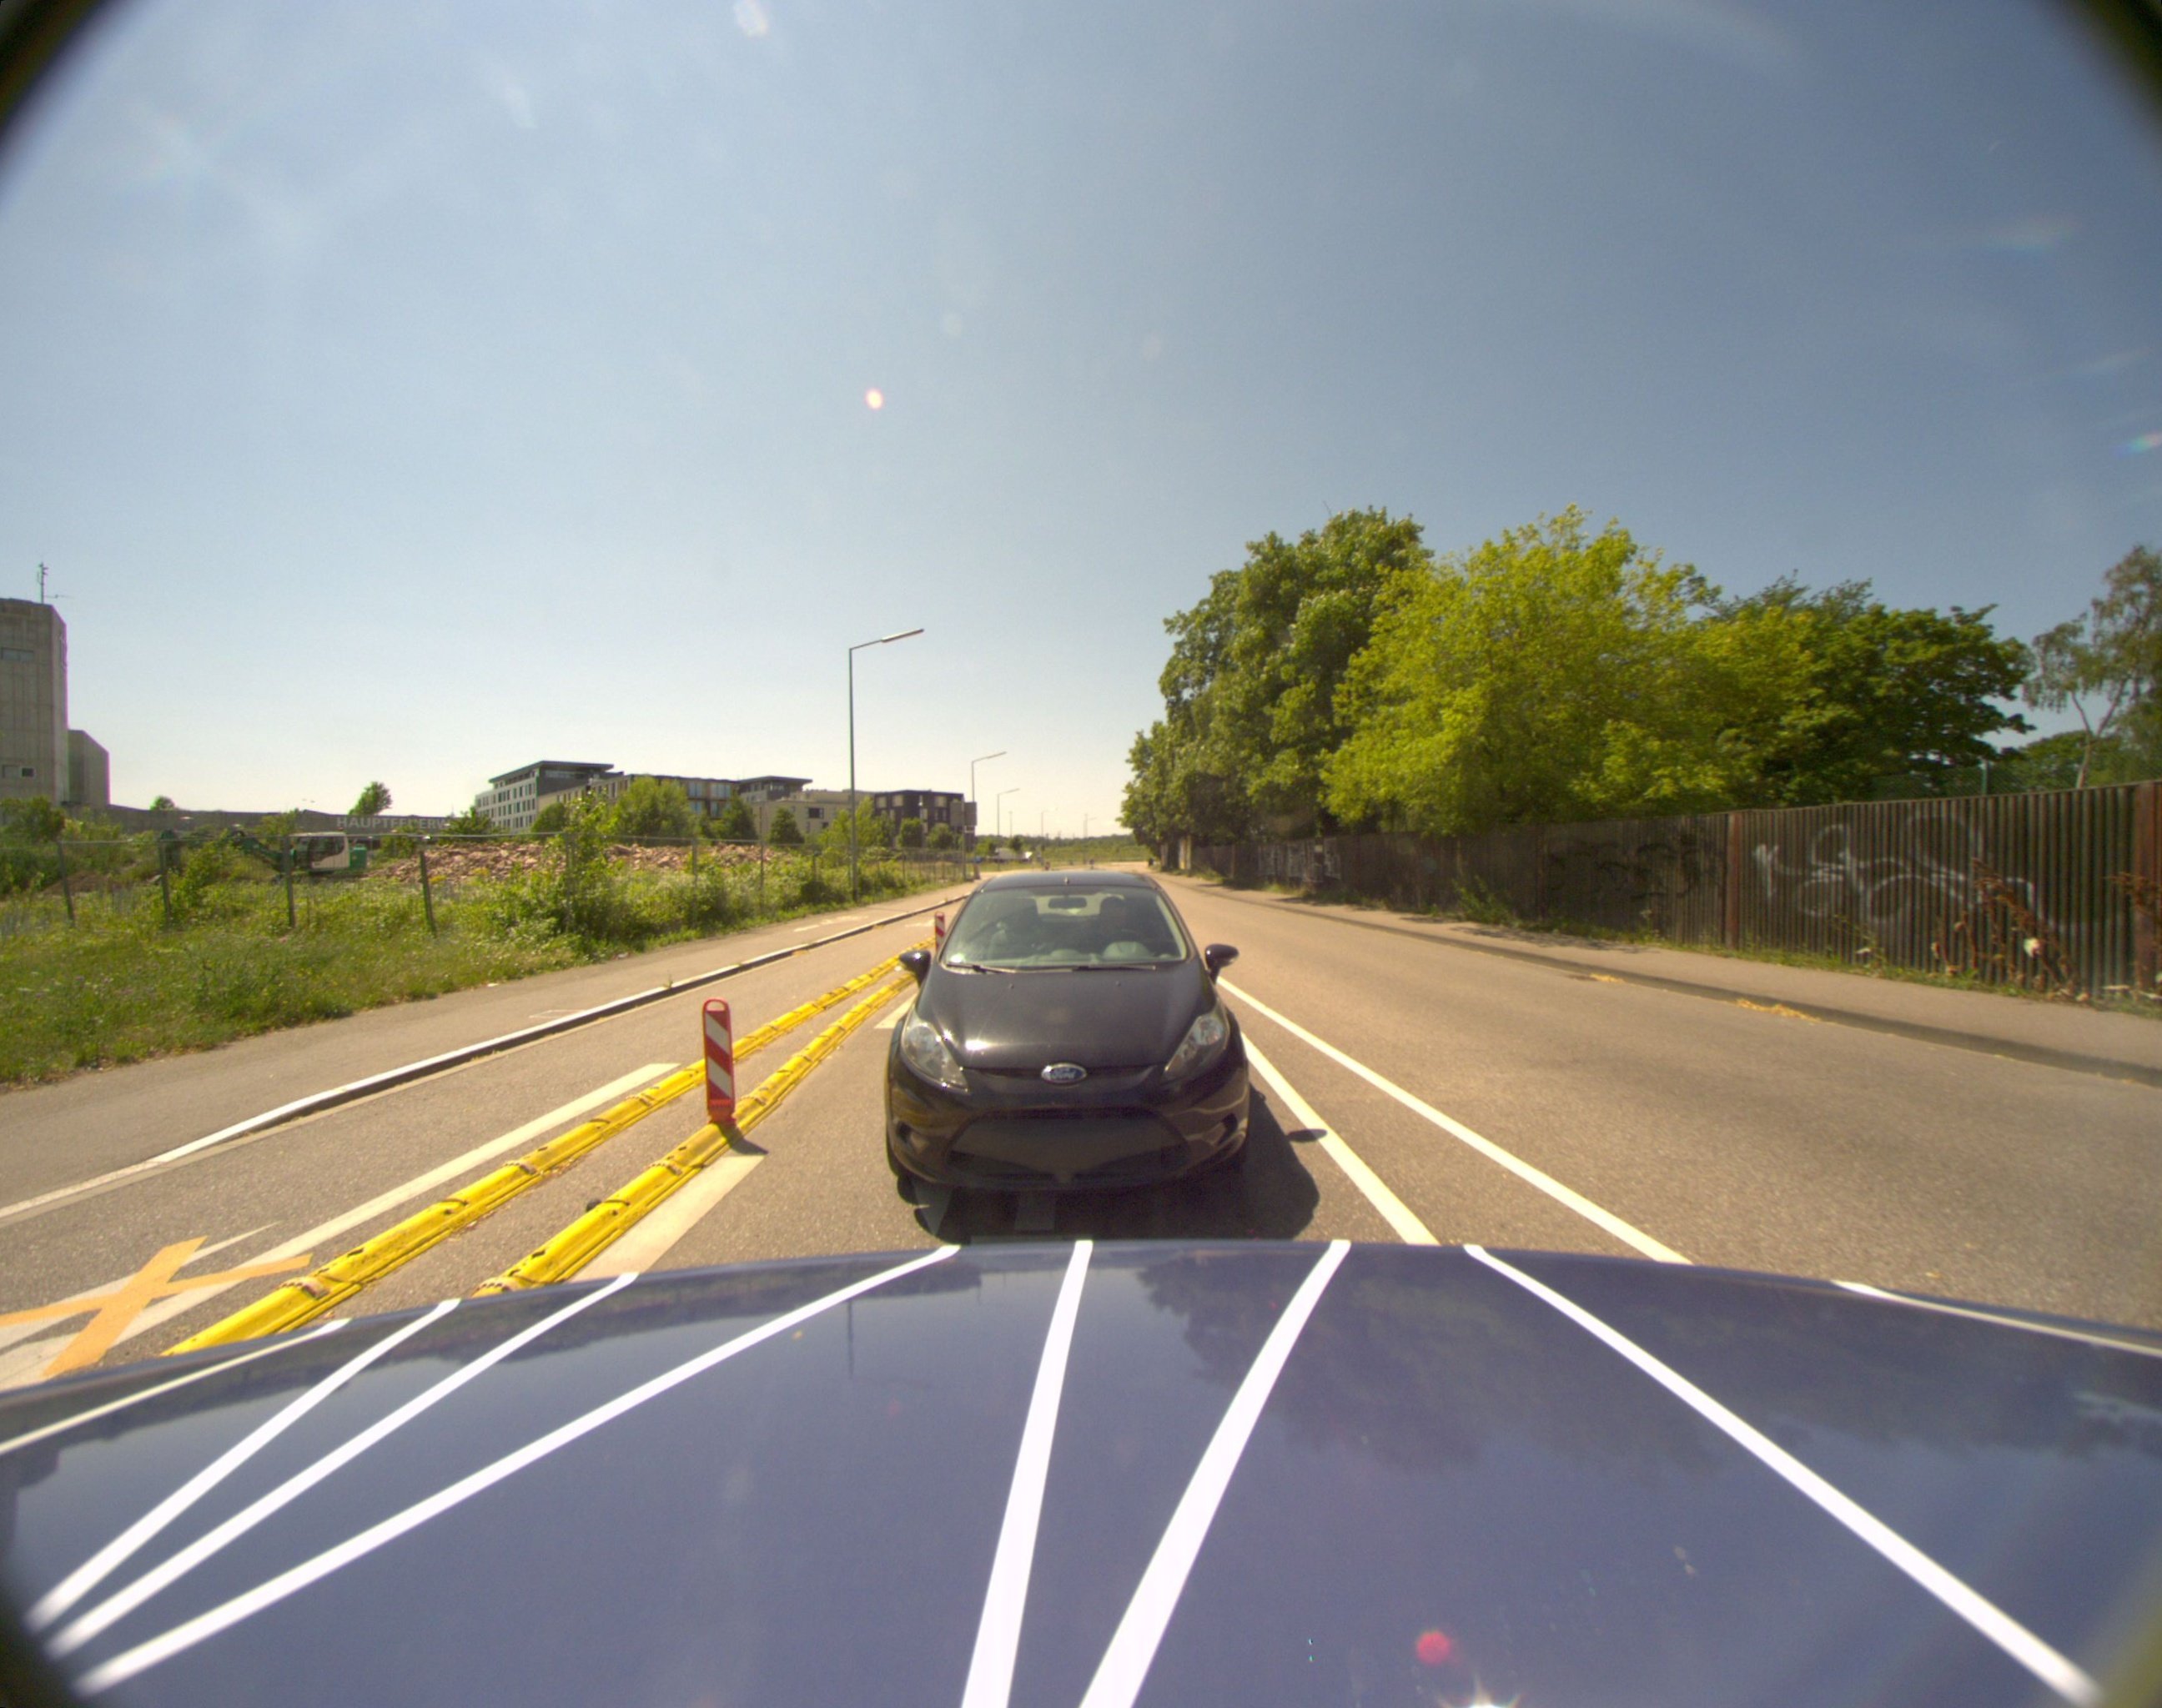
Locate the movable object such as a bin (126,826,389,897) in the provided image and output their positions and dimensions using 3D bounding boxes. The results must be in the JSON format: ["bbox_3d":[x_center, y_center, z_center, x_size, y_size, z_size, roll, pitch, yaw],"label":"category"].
[{"bbox_3d":[-38.357,0.259,35.923,3.231,2.899,7.702,-2,1,15],"label":"movable object such as a bin"}]

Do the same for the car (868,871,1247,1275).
[{"bbox_3d":[-0.071,0.970,5.181,1.528,1.510,3.999,-2,1,1],"label":"car"}]
